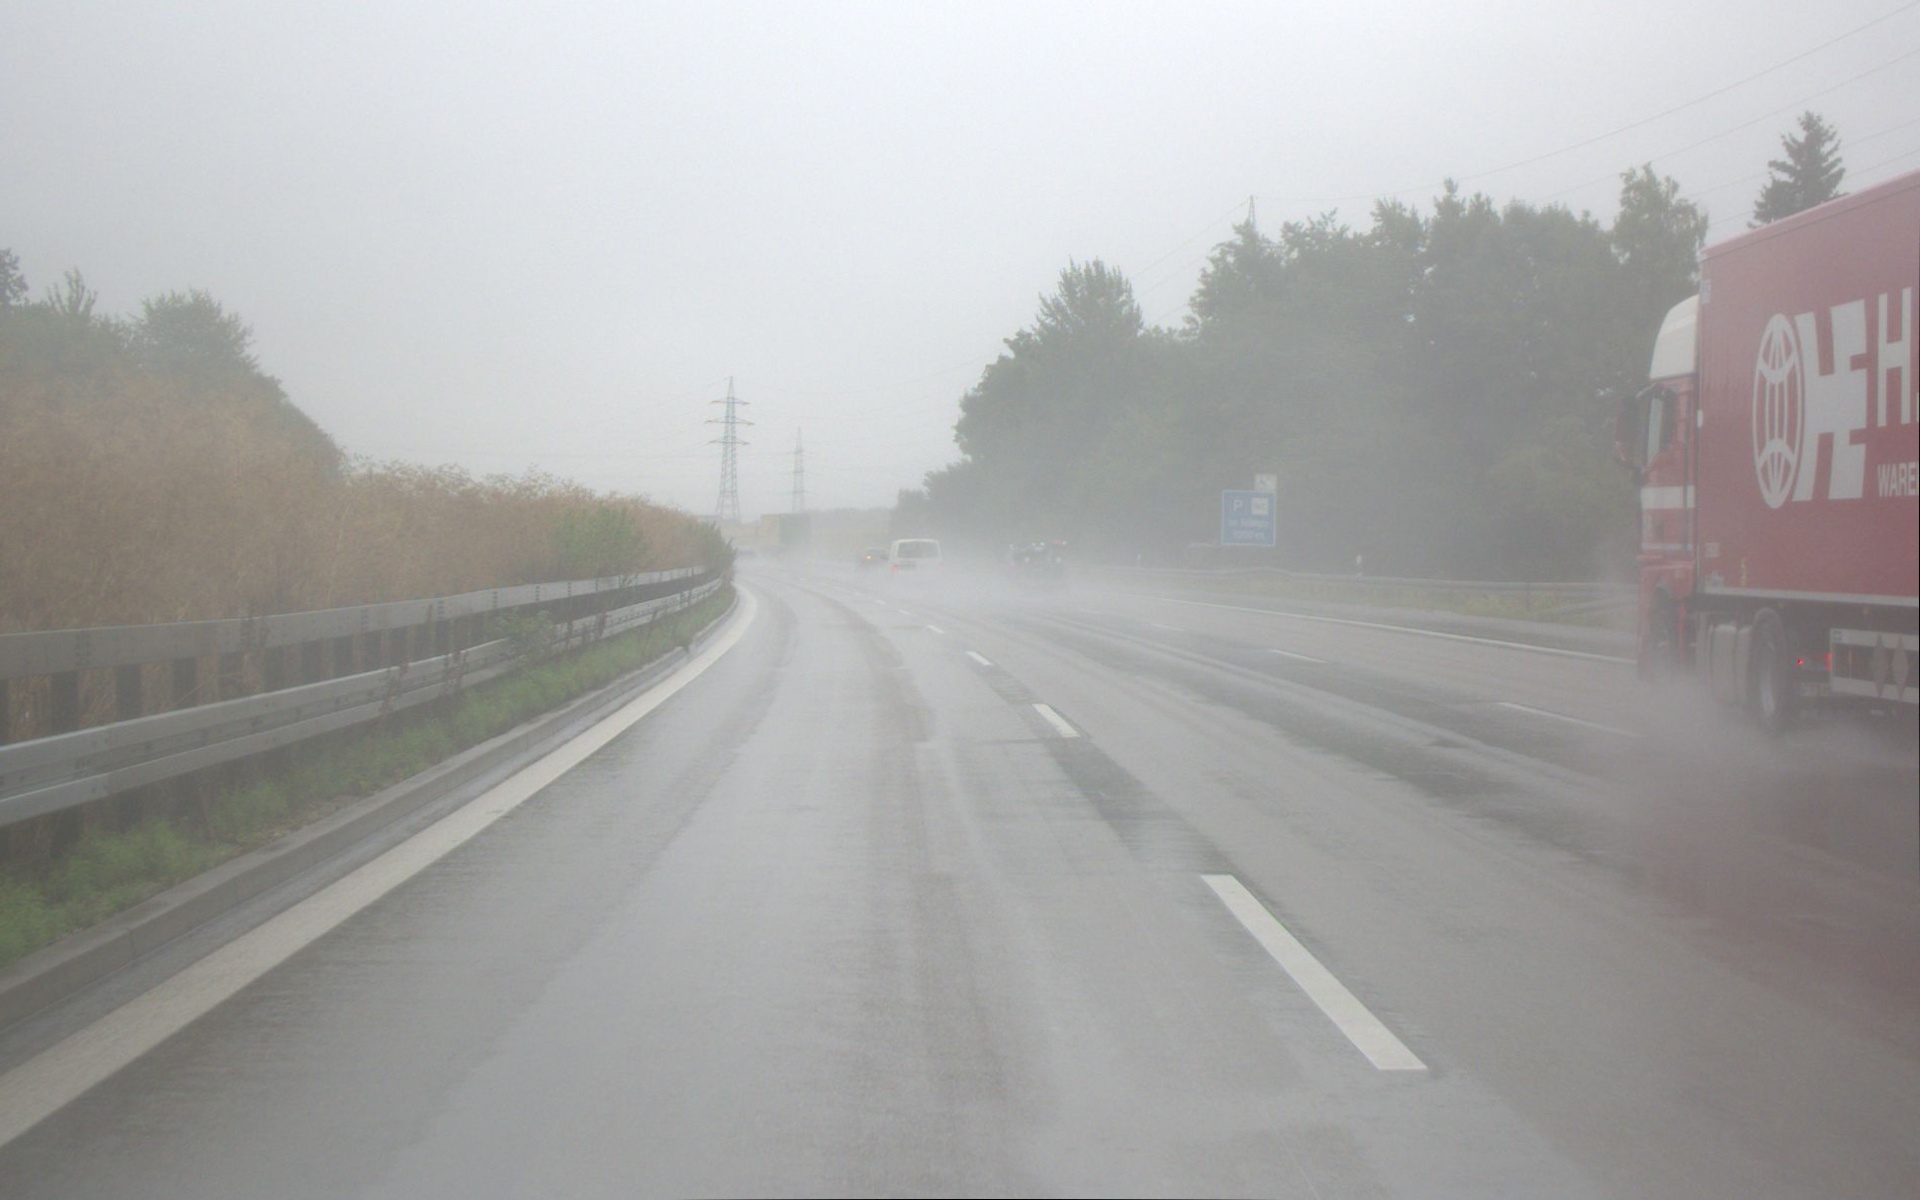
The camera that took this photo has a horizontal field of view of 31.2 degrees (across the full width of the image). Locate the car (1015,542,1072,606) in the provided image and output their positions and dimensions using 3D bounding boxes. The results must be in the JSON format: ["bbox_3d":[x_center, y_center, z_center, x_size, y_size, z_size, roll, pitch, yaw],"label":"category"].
[{"bbox_3d":[2.838,-0.913,117.643,1.807,2.151,4.000,0,1,-1],"label":"car"}]

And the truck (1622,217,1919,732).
[{"bbox_3d":[7.448,-1.008,29.081,2.620,3.942,5.433,0,1,0],"label":"truck"}]

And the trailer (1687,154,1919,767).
[{"bbox_3d":[7.480,-0.899,22.177,2.620,3.942,13.631,0,1,0],"label":"trailer"}]
